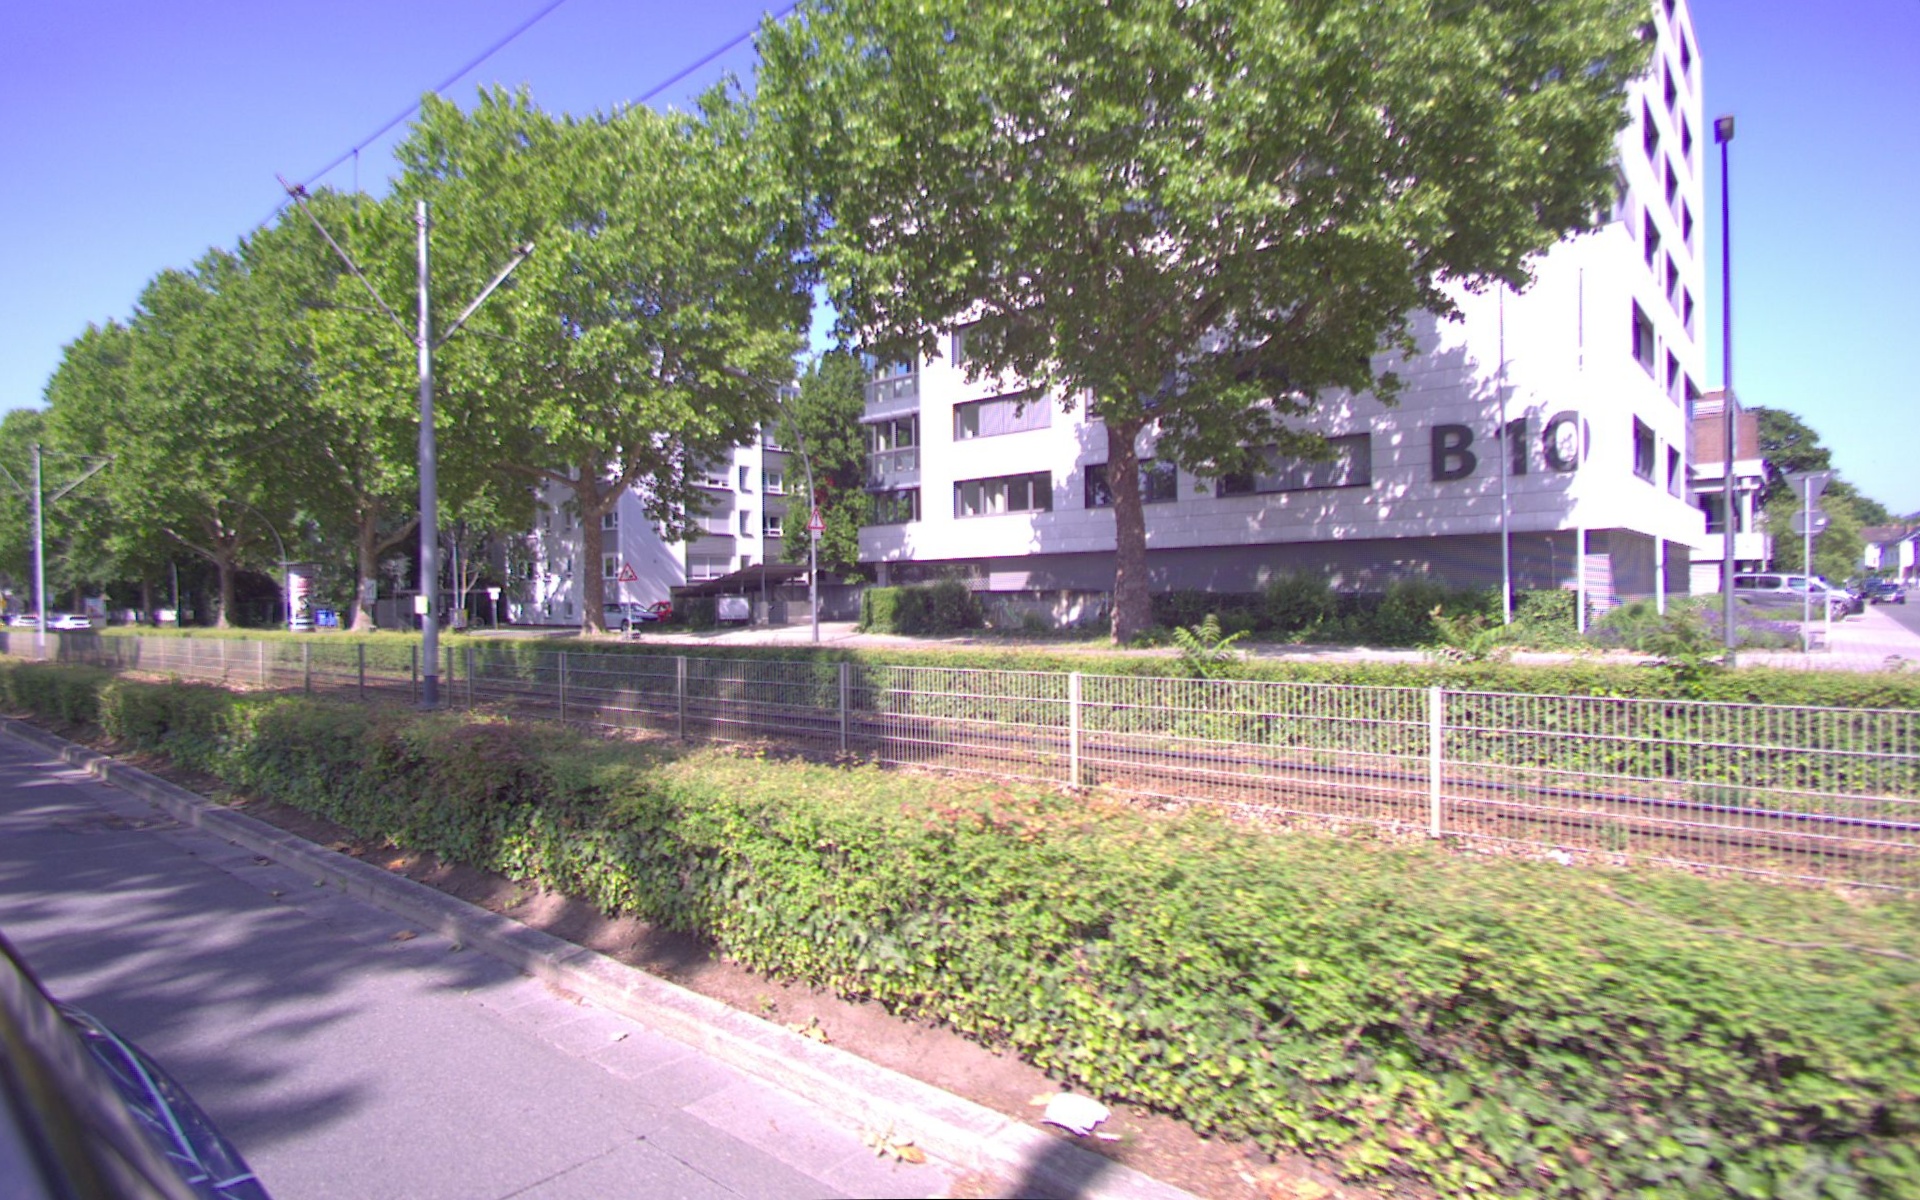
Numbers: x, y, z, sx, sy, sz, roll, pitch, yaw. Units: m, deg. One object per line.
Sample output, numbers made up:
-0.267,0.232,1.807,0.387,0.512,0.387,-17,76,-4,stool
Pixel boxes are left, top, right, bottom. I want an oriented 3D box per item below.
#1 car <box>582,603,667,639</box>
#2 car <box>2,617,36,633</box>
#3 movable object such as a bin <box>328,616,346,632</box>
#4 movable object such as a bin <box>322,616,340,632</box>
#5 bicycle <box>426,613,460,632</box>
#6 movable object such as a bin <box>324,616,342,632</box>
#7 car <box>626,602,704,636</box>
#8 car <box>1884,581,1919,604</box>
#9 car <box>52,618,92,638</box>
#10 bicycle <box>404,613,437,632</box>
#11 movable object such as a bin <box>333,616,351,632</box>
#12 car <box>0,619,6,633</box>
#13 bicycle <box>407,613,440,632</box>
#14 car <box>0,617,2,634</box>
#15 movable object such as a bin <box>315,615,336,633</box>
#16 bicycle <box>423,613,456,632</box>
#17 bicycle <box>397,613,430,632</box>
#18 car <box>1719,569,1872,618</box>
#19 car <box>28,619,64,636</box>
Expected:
-15.856,0.992,47.719,4.345,1.561,1.725,-1,0,40,car
-90.246,2.433,97.027,3.996,1.464,1.837,-1,0,40,car
-41.386,1.602,67.202,0.545,1.044,0.887,-2,0,39,movable object such as a bin
-42.268,1.619,67.973,0.545,1.044,0.887,-2,0,39,movable object such as a bin
-30.690,1.332,60.117,0.421,1.111,1.748,-2,0,39,bicycle
-41.857,1.611,67.583,0.545,1.044,0.887,-2,0,39,movable object such as a bin
-14.553,0.942,49.824,3.996,1.561,1.725,-1,0,40,car
64.747,-0.539,69.534,1.732,1.546,3.746,-1,0,41,car
-70.133,2.202,79.922,3.909,1.502,1.797,-1,-2,40,car
-32.943,1.373,61.848,0.421,1.111,1.748,-2,0,39,bicycle
-40.576,1.586,66.424,0.545,1.044,0.887,-2,0,39,movable object such as a bin
-100.240,2.772,104.740,3.888,1.425,1.680,-1,2,40,car
-32.610,1.367,61.527,0.421,1.111,1.748,-2,0,39,bicycle
-86.845,2.289,90.089,3.996,1.464,1.837,-1,0,40,car
-42.931,1.601,68.523,1.098,1.198,0.887,-1,0,39,movable object such as a bin
-31.077,1.339,60.429,0.421,1.111,1.748,-2,0,39,bicycle
-33.775,1.389,62.545,0.421,1.111,1.748,-2,0,39,bicycle
33.308,-0.228,40.445,4.615,1.828,1.973,-1,0,42,car
-81.268,2.434,89.953,3.996,1.464,1.833,-1,0,40,car
